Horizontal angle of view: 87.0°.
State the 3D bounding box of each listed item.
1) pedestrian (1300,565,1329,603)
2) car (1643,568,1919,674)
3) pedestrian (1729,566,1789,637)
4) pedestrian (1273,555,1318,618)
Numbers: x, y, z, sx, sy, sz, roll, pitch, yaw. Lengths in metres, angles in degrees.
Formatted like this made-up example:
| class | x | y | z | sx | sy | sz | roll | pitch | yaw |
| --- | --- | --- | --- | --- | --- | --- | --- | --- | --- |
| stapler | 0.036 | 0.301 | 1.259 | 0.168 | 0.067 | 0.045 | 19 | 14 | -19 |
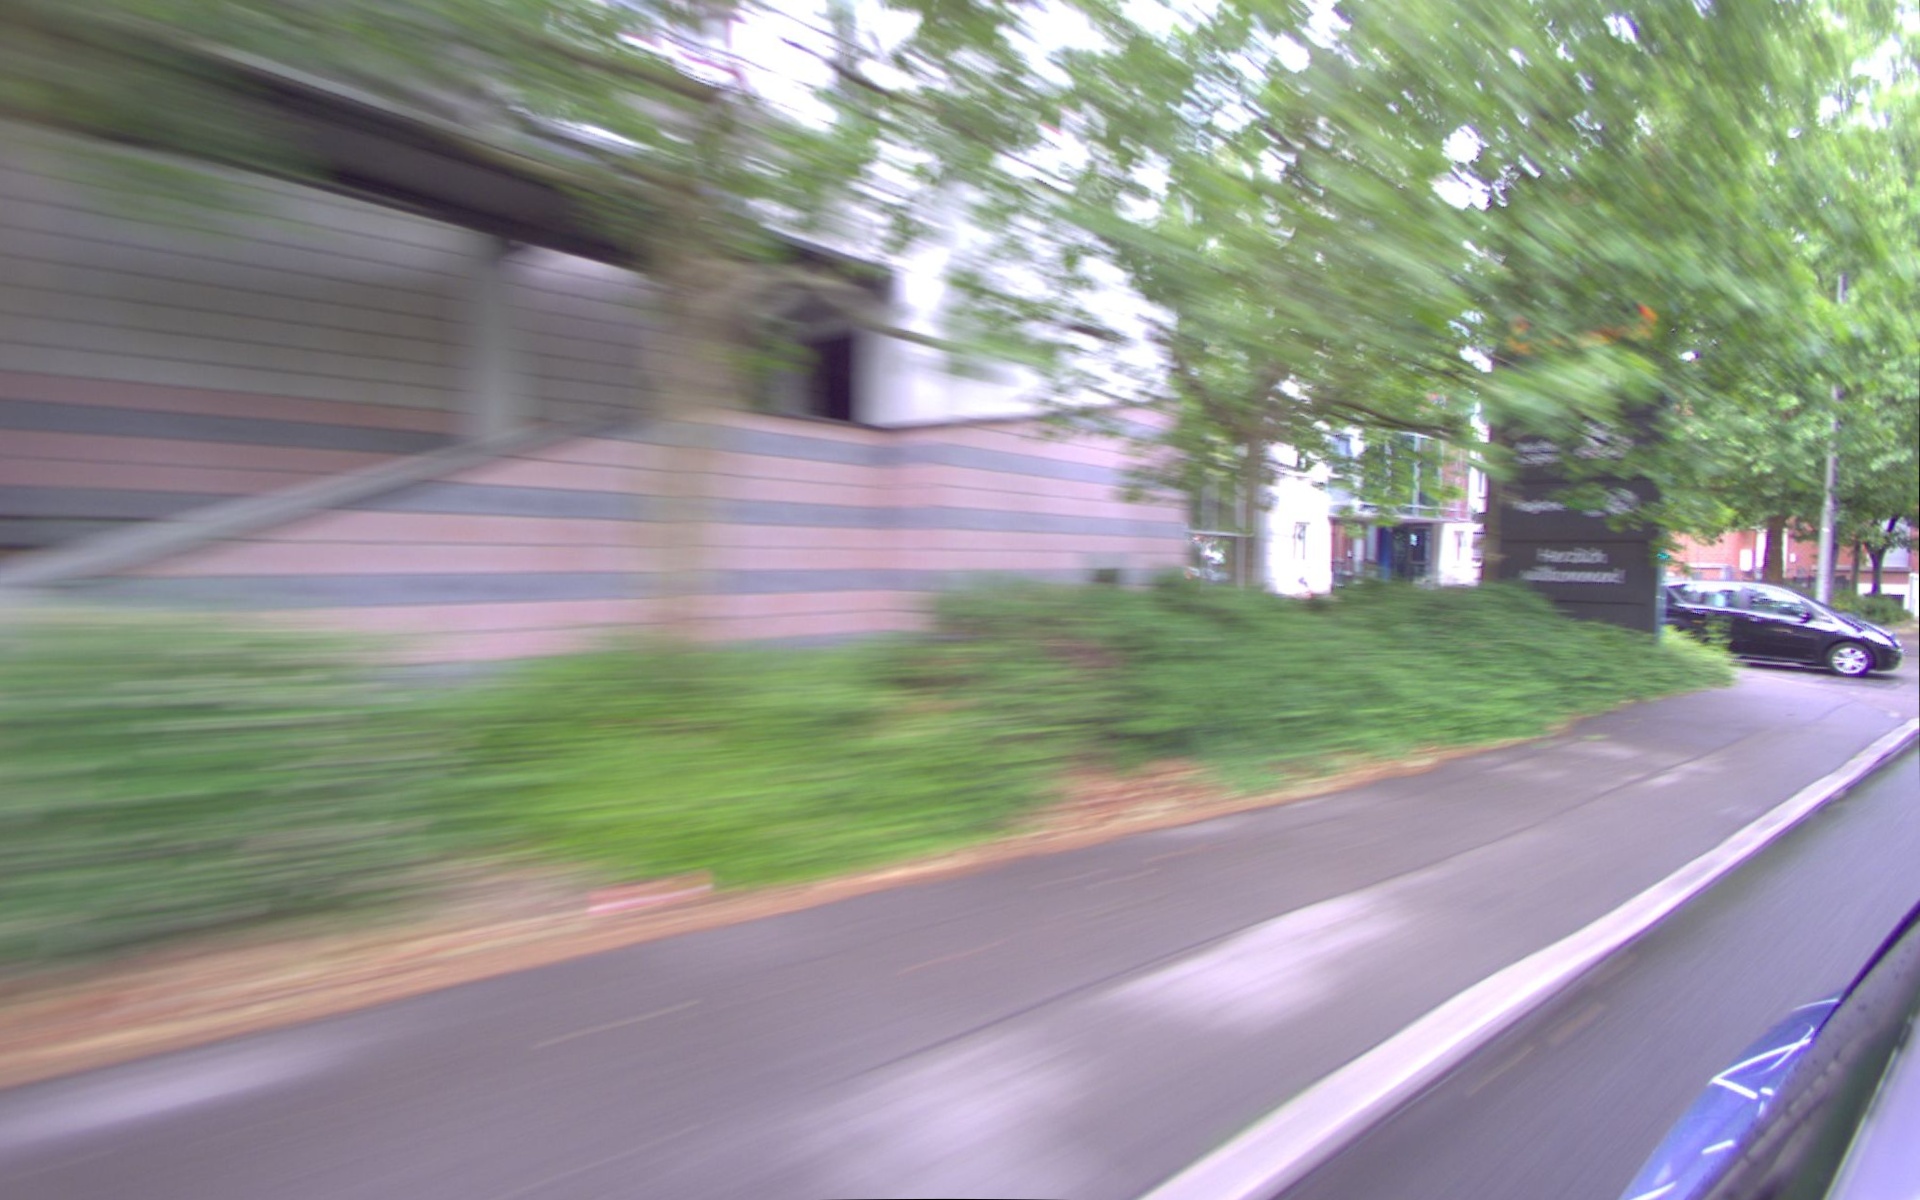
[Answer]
| class | x | y | z | sx | sy | sz | roll | pitch | yaw |
| --- | --- | --- | --- | --- | --- | --- | --- | --- | --- |
| pedestrian | 10.807 | -0.498 | 30.869 | 0.552 | 1.145 | 0.623 | 0 | 2 | -37 |
| car | 15.043 | 0.290 | 18.545 | 3.850 | 1.566 | 1.995 | 5 | 4 | 44 |
| pedestrian | 19.050 | 0.013 | 24.138 | 0.689 | 1.637 | 0.920 | 0 | 2 | -37 |
| pedestrian | 10.106 | -0.419 | 30.470 | 0.941 | 1.850 | 0.832 | 0 | 2 | -35 |
